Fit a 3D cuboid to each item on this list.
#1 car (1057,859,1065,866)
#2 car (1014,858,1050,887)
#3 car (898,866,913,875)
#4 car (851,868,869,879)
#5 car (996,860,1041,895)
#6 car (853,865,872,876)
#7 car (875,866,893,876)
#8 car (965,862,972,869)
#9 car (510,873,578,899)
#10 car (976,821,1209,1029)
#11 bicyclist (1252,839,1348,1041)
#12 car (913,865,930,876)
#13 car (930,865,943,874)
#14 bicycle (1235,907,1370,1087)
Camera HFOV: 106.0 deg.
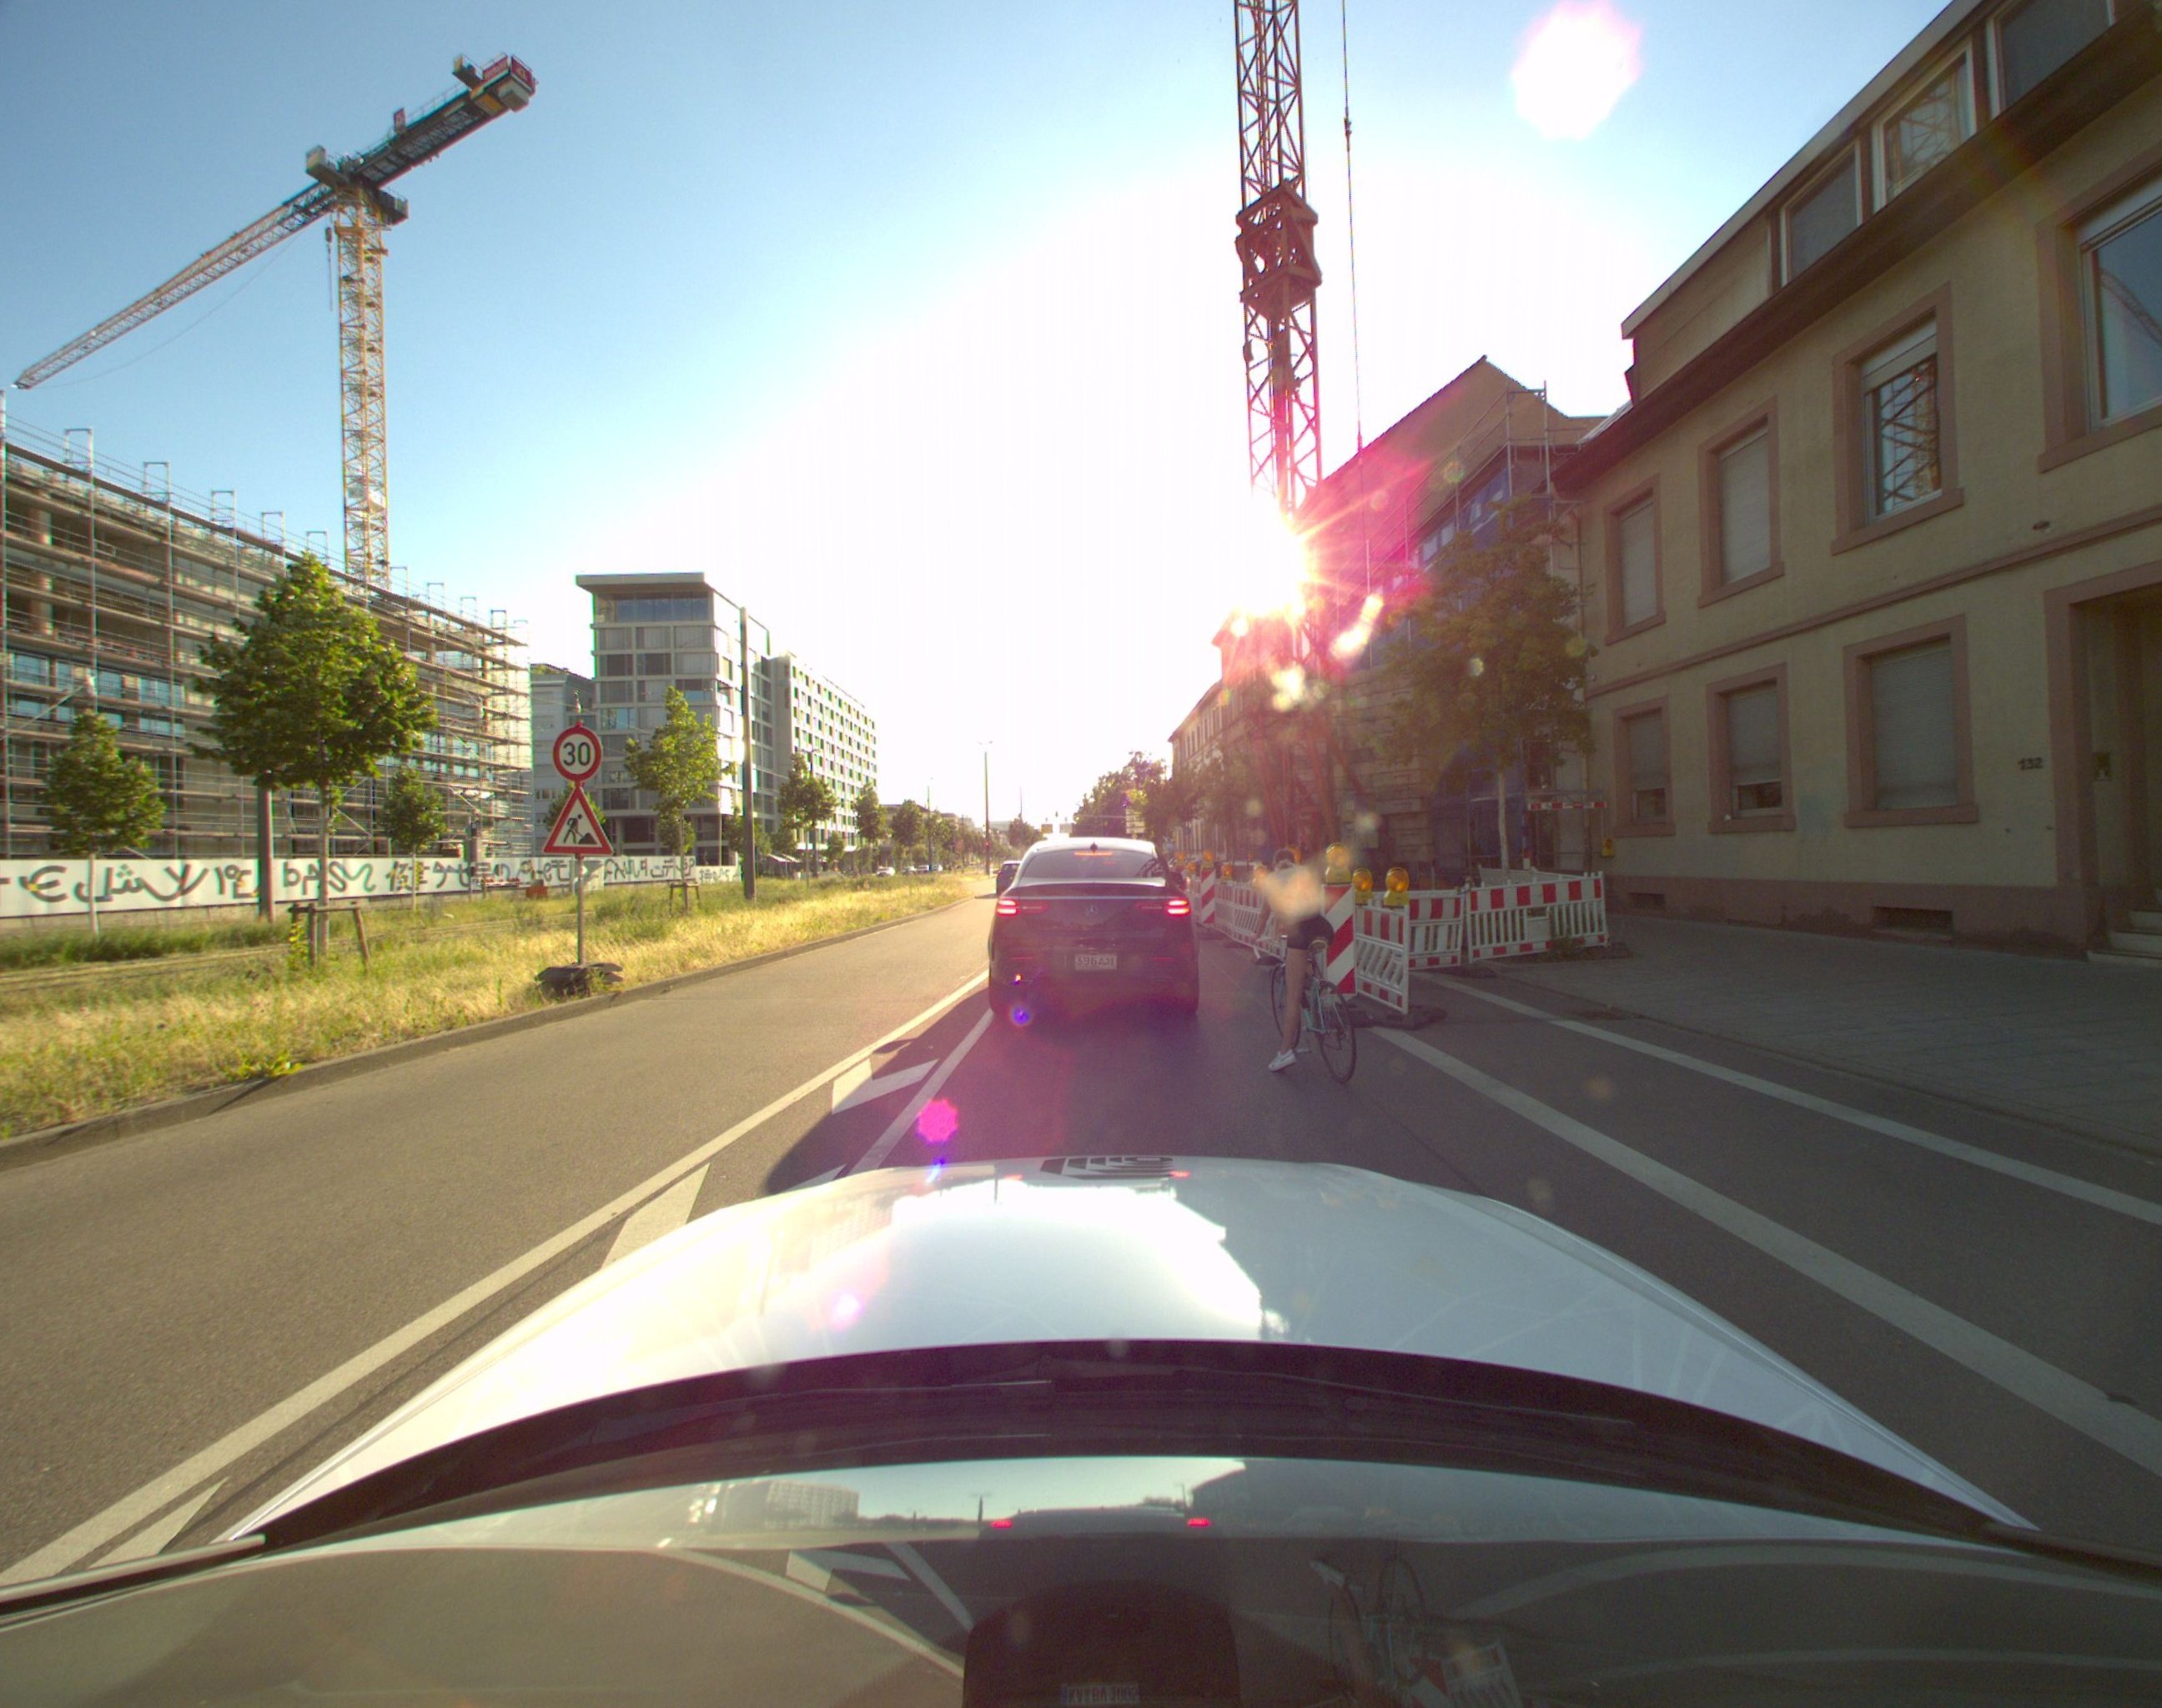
[{"bbox_3d":[-4.535,1.897,184.566,1.703,1.442,3.581,0,-1,0],"label":"car"},{"bbox_3d":[-2.535,0.962,42.942,1.703,1.442,3.581,0,-1,0],"label":"car"},{"bbox_3d":[-28.246,2.638,131.371,1.703,1.442,3.581,0,-1,0],"label":"car"},{"bbox_3d":[-32.179,2.816,118.530,1.703,1.442,3.581,0,-1,0],"label":"car"},{"bbox_3d":[-2.687,0.983,35.586,1.703,1.442,3.581,0,-1,0],"label":"car"},{"bbox_3d":[-30.686,2.309,114.413,1.703,1.442,3.581,0,-1,0],"label":"car"},{"bbox_3d":[-28.057,2.385,116.356,1.703,1.442,3.581,0,-1,0],"label":"car"},{"bbox_3d":[-32.264,3.376,233.829,1.994,2.014,3.986,0,-1,-10],"label":"car"},{"bbox_3d":[-32.392,1.883,49.243,1.703,1.442,3.581,0,-1,0],"label":"car"},{"bbox_3d":[0.162,0.624,8.973,1.986,1.772,4.001,0,-1,2],"label":"car"},{"bbox_3d":[1.593,0.600,5.984,0.521,1.395,0.614,0,-1,-1],"label":"bicyclist"},{"bbox_3d":[-22.652,2.336,115.511,1.703,1.442,3.581,0,-1,0],"label":"car"},{"bbox_3d":[-25.369,2.707,142.801,1.703,1.442,3.581,0,-1,0],"label":"car"},{"bbox_3d":[1.591,0.973,6.106,0.511,1.052,1.724,0,-1,-1],"label":"bicycle"}]
